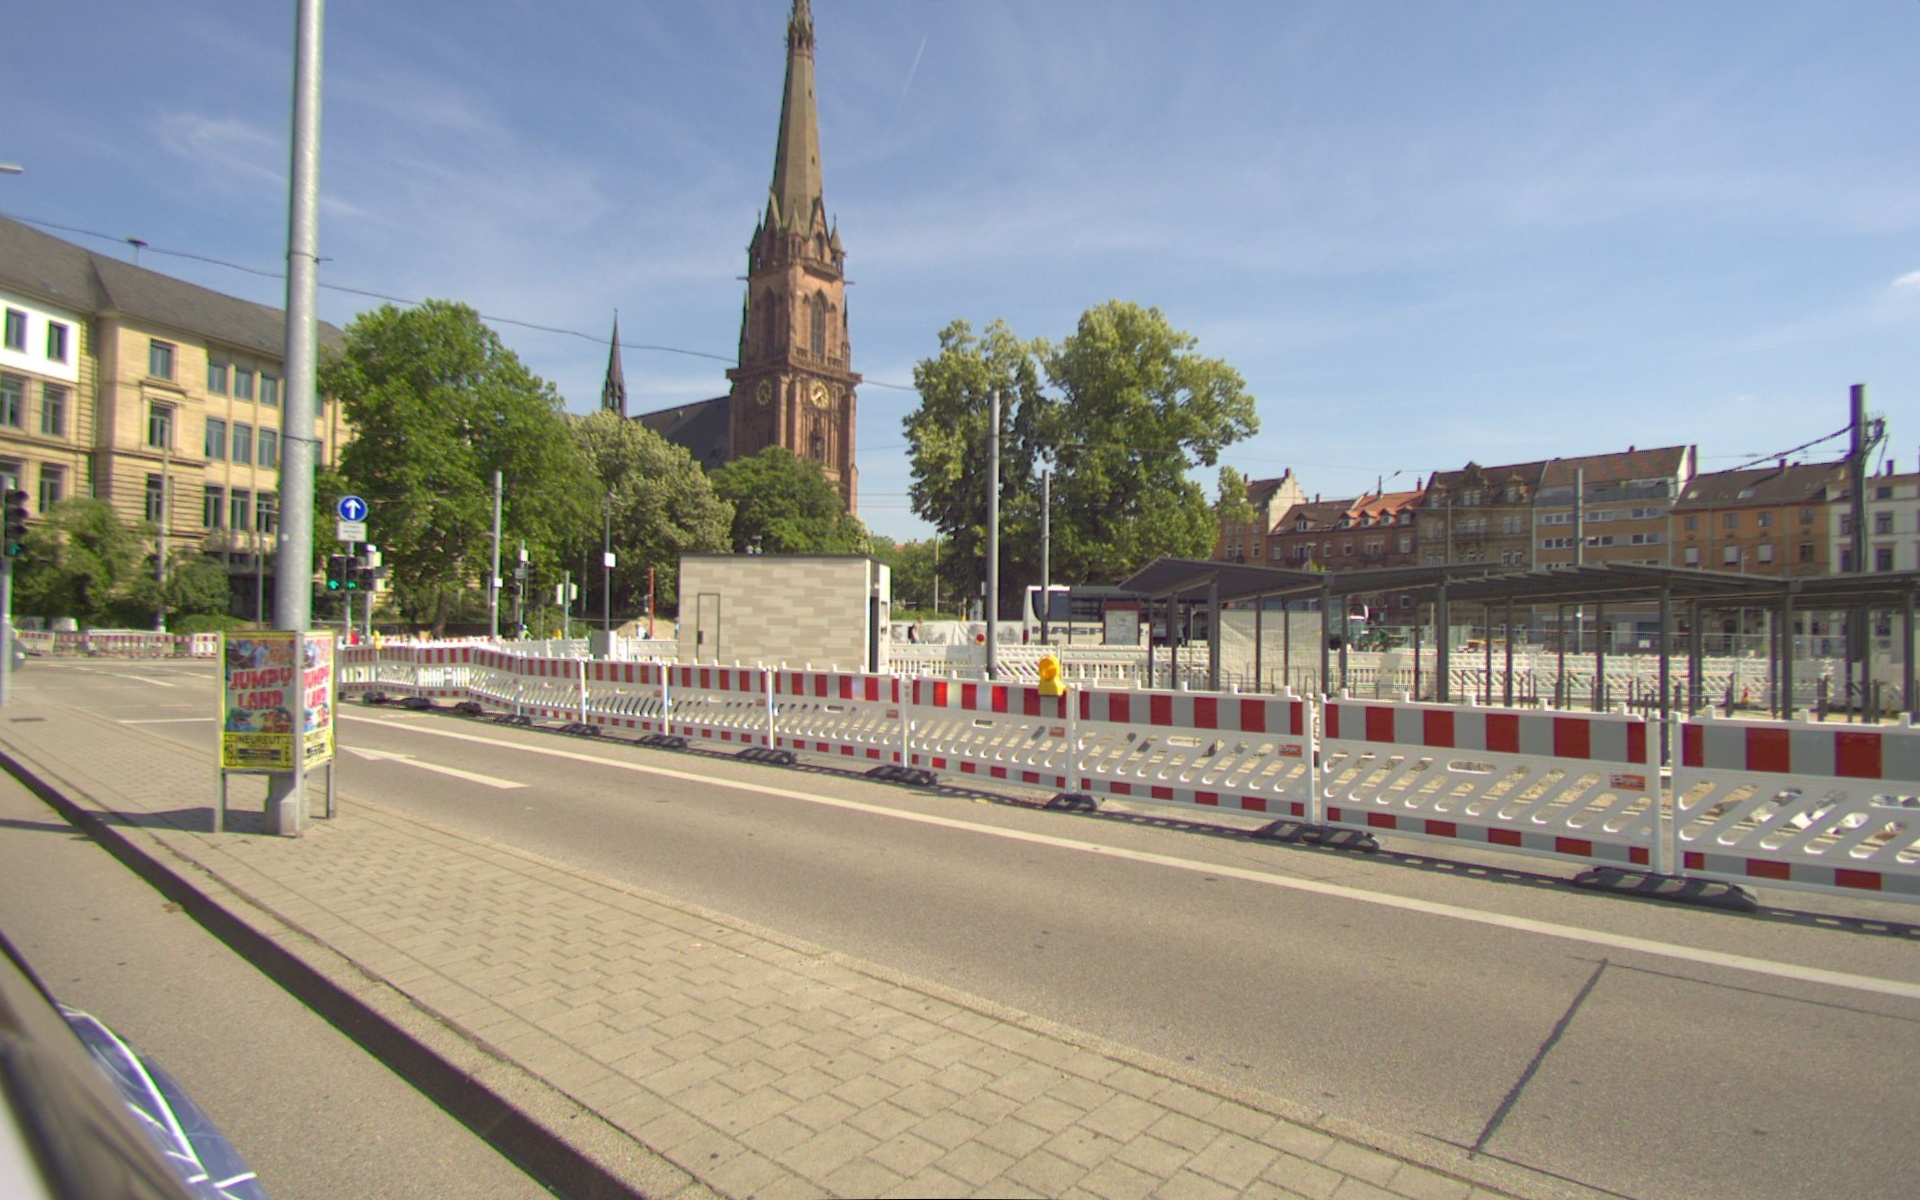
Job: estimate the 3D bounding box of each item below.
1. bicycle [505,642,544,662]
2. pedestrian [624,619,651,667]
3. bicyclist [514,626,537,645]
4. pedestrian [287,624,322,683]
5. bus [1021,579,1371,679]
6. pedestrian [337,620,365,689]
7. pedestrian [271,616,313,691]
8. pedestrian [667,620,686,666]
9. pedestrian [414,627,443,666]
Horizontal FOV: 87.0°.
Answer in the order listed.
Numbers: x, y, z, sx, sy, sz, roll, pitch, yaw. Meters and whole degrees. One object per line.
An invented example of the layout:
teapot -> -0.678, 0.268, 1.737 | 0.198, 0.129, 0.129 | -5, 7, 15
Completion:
bicycle -> -22.008, 2.639, 51.192 | 1.643, 0.954, 0.701 | 1, -2, 2
pedestrian -> -11.224, 1.497, 35.235 | 0.781, 1.628, 0.663 | 0, -2, -7
bicyclist -> -21.989, 1.797, 51.220 | 0.858, 0.934, 0.682 | 1, -2, 2
pedestrian -> -17.779, 1.453, 27.455 | 0.657, 1.555, 0.424 | -2, 0, -12
bus -> 8.638, 1.070, 38.370 | 12.504, 3.516, 2.856 | 0, -2, 7
pedestrian -> -14.742, 1.312, 24.490 | 0.686, 1.628, 0.346 | -1, -3, 42
pedestrian -> -16.606, 1.309, 25.144 | 0.827, 1.826, 0.651 | 1, -2, -35
pedestrian -> -9.987, 1.509, 35.632 | 0.576, 1.628, 0.691 | 0, -2, -10
pedestrian -> -23.165, 2.025, 44.137 | 0.926, 1.668, 0.845 | 2, -3, -41
